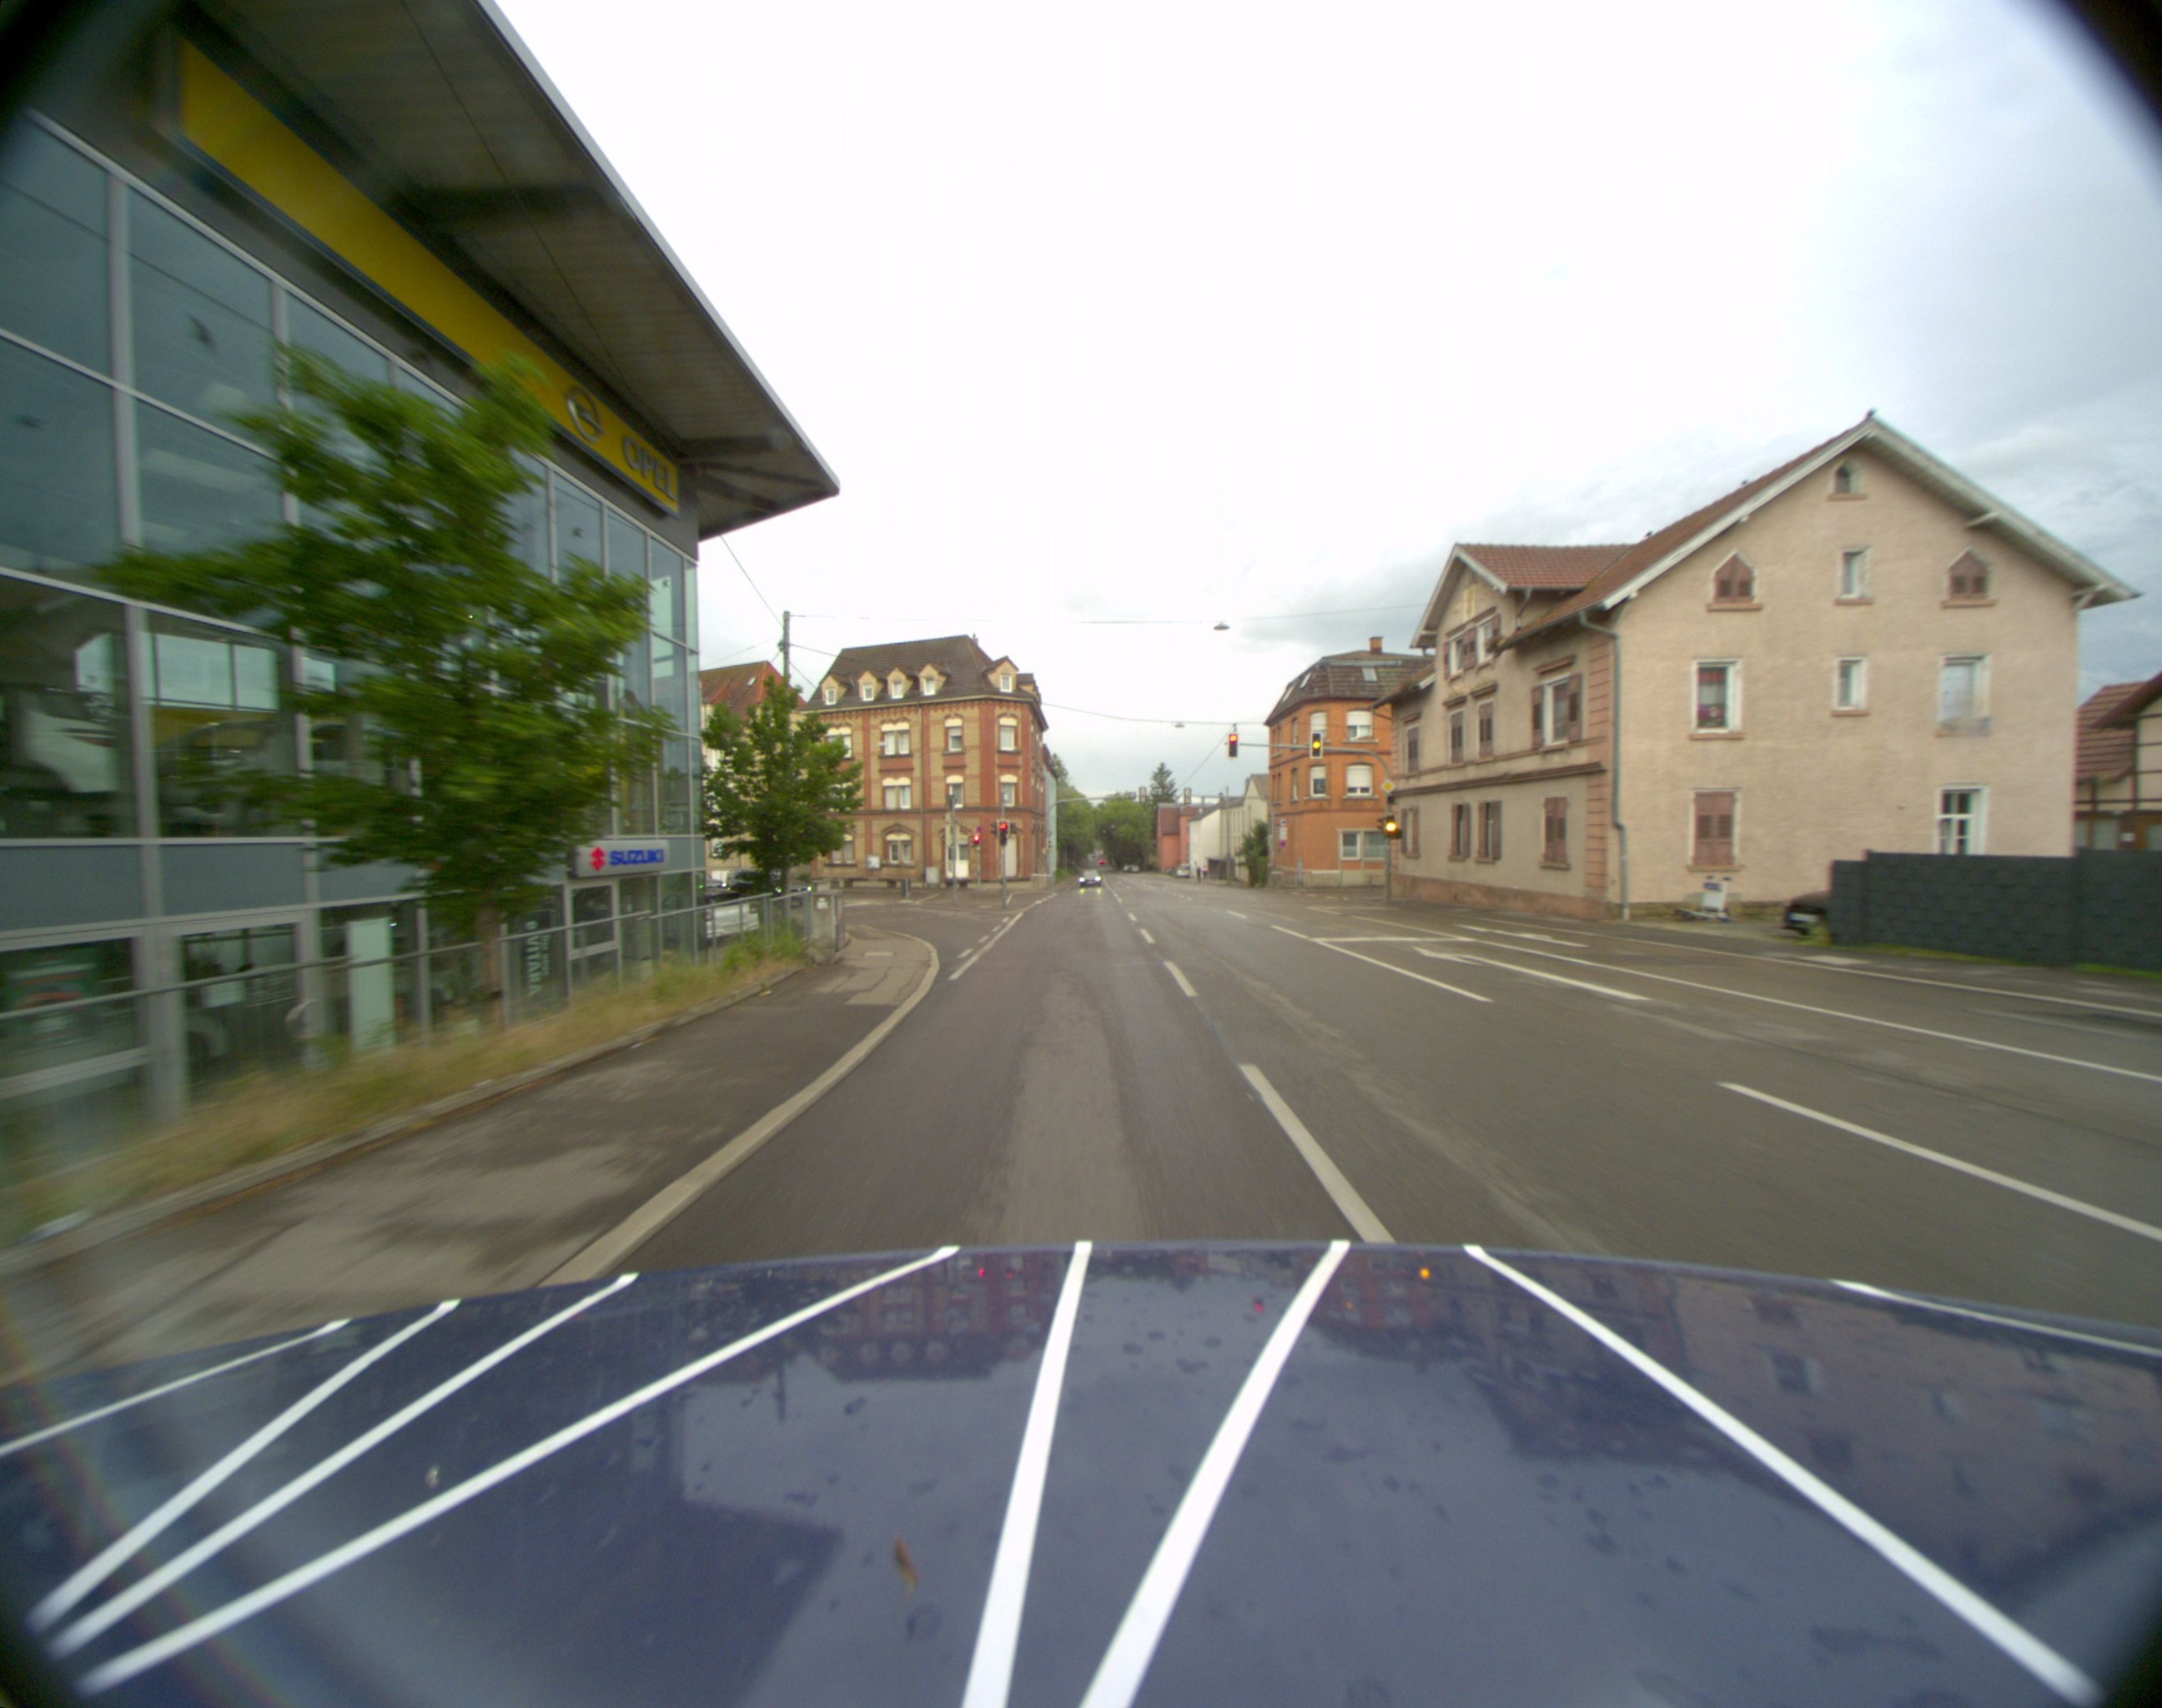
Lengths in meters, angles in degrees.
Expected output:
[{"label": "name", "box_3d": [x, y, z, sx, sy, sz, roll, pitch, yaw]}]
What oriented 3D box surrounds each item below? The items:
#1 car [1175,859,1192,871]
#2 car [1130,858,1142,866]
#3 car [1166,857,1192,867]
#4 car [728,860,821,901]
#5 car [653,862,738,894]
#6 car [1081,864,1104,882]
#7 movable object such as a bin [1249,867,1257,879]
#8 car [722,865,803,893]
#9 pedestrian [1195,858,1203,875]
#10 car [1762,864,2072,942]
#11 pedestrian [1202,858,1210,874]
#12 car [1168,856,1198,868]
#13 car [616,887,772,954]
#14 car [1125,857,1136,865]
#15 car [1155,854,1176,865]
[{"label": "car", "box_3d": [13.772, 1.494, 102.600, 1.749, 1.499, 4.178, -1, 0, 1]}, {"label": "car", "box_3d": [9.717, 1.390, 134.411, 1.789, 1.402, 4.197, 1, 0, -2]}, {"label": "car", "box_3d": [16.110, 1.322, 124.984, 4.171, 1.425, 2.000, -3, 0, 3]}, {"label": "car", "box_3d": [-13.637, 1.135, 33.740, 4.243, 1.653, 1.808, 0, 1, 36]}, {"label": "car", "box_3d": [-19.455, 1.171, 38.310, 4.243, 1.496, 1.808, 0, 1, 31]}, {"label": "car", "box_3d": [1.009, 1.603, 64.807, 1.842, 1.403, 4.000, -1, 0, 1]}, {"label": "movable object such as a bin", "box_3d": [13.790, 1.554, 60.948, 0.410, 0.919, 0.525, -2, 1, -5]}, {"label": "car", "box_3d": [-17.624, 1.354, 42.081, 3.990, 1.445, 1.847, 0, 0, 23]}, {"label": "pedestrian", "box_3d": [12.294, 1.301, 79.143, 0.641, 1.696, 0.911, -2, 0, 2]}, {"label": "car", "box_3d": [15.006, 0.841, 13.761, 3.998, 1.156, 1.606, -2, 1, -3]}, {"label": "pedestrian", "box_3d": [13.033, 1.231, 79.114, 0.641, 1.696, 0.911, -2, 0, 2]}, {"label": "car", "box_3d": [16.441, 1.294, 122.475, 4.542, 1.599, 2.153, -3, 0, 3]}, {"label": "car", "box_3d": [-10.916, 1.794, 21.409, 3.989, 1.500, 1.900, 0, 4, 29]}, {"label": "car", "box_3d": [9.499, 1.310, 145.755, 1.816, 1.537, 4.198, 2, 0, 1]}, {"label": "car", "box_3d": [16.925, 1.083, 151.828, 3.994, 2.002, 2.001, -2, 1, 8]}]
